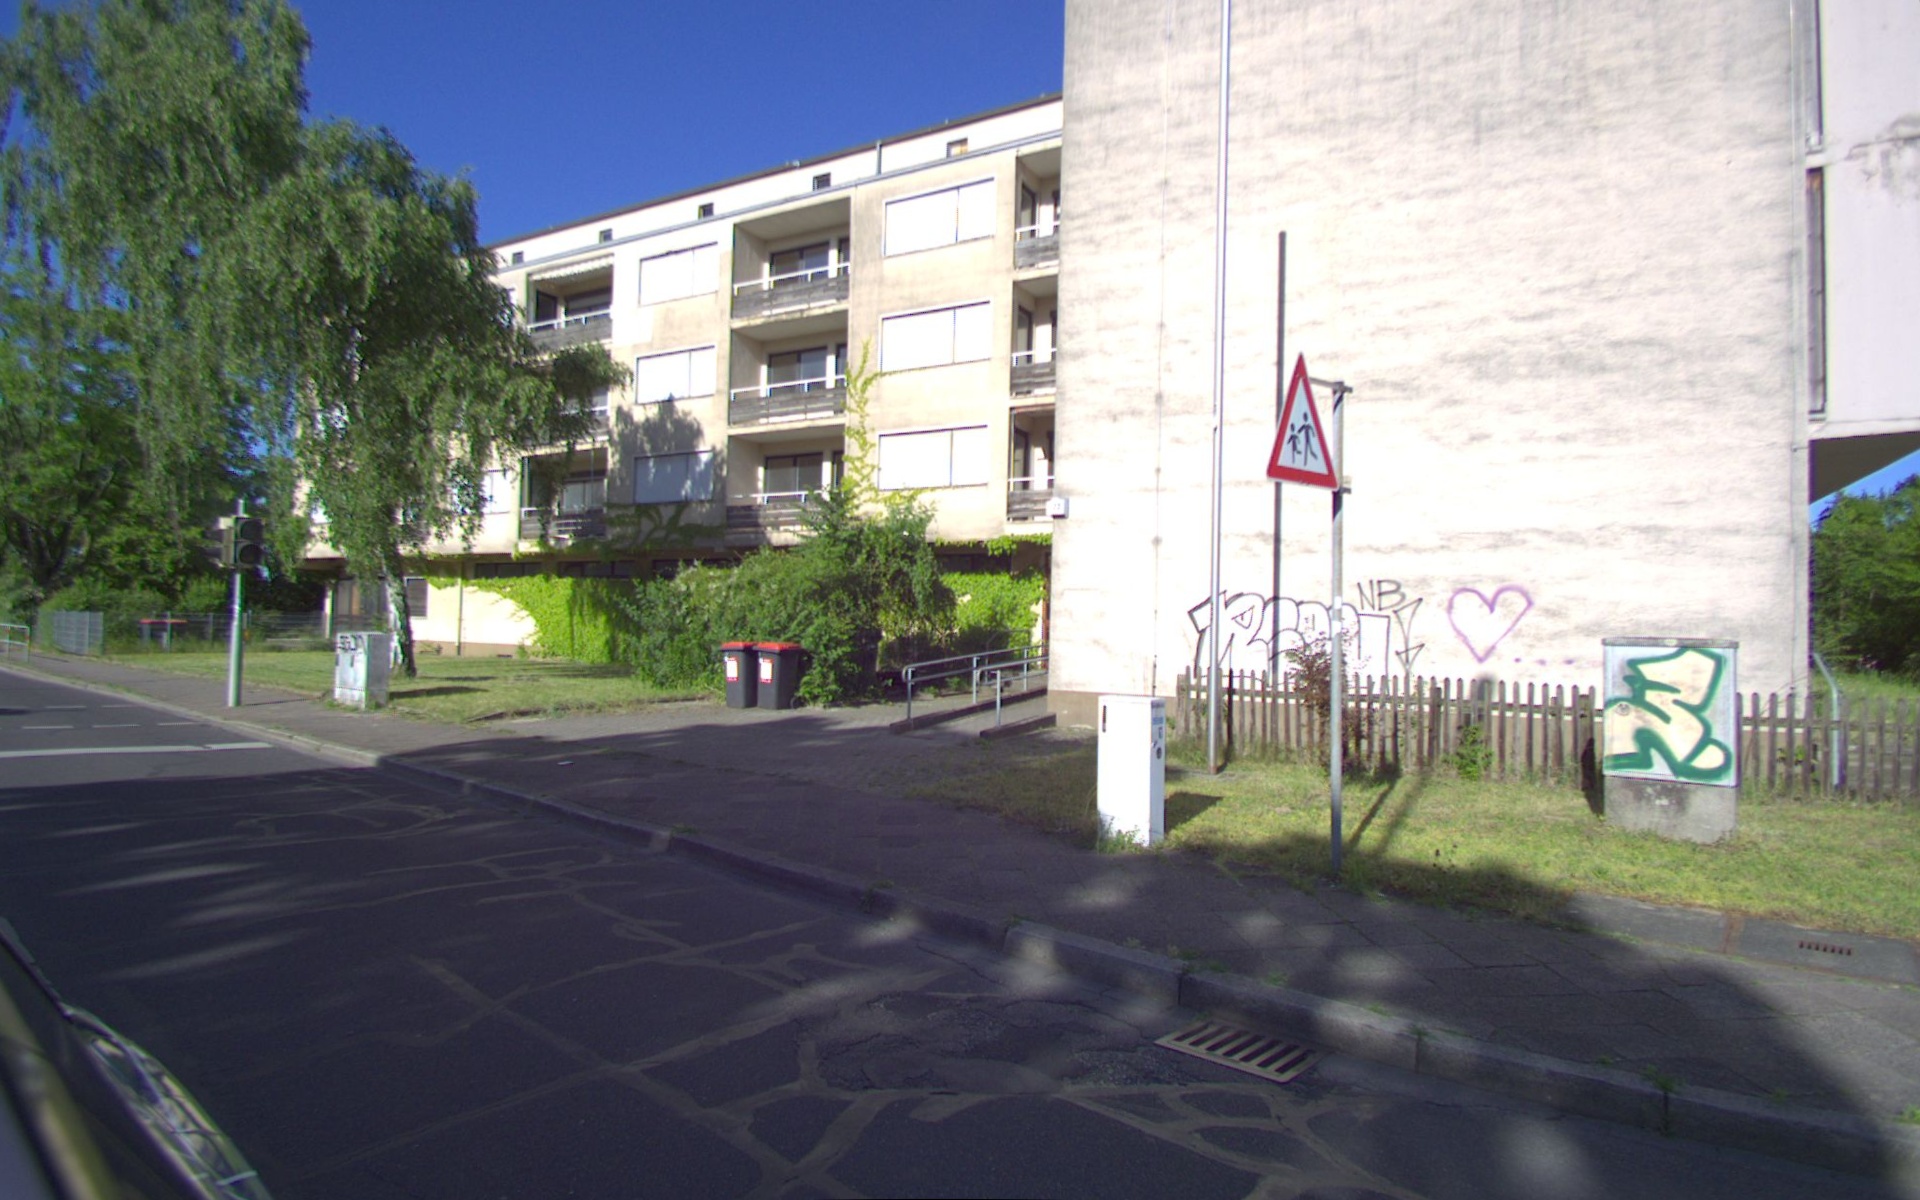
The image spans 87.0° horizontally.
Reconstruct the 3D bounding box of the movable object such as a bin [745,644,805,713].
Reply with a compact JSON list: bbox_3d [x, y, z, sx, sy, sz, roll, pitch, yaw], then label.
[{"bbox_3d":[-2.955,1.245,16.193,0.697,1.056,0.625,1,-2,18],"label":"movable object such as a bin"}]

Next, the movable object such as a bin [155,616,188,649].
[{"bbox_3d":[-25.971,1.072,33.339,0.709,1.032,0.616,0,-3,34],"label":"movable object such as a bin"}]

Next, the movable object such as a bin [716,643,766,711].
[{"bbox_3d":[-3.553,1.240,16.417,0.552,1.061,0.561,1,-2,19],"label":"movable object such as a bin"}]

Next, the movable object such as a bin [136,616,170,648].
[{"bbox_3d":[-26.237,1.039,32.901,0.709,1.032,0.616,0,-3,34],"label":"movable object such as a bin"}]
